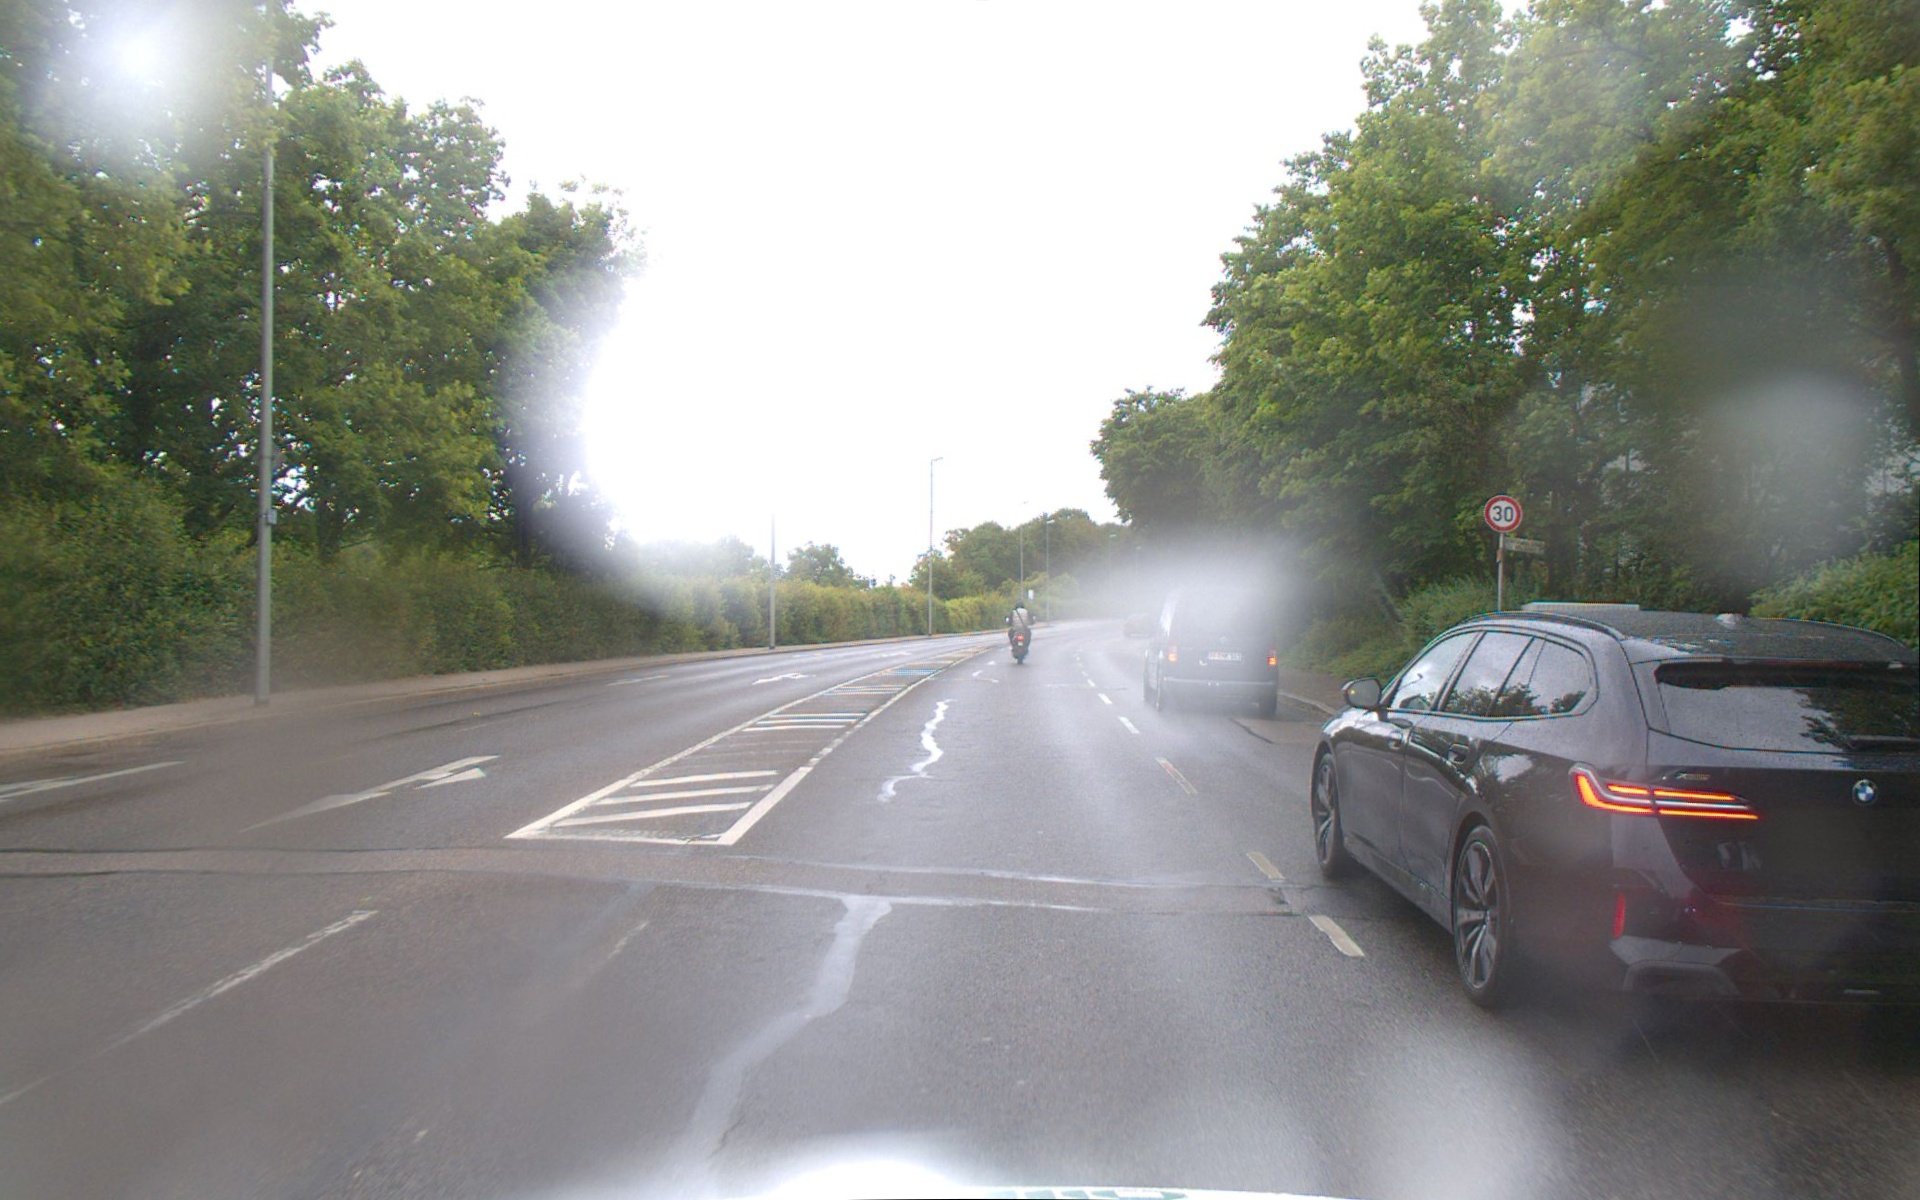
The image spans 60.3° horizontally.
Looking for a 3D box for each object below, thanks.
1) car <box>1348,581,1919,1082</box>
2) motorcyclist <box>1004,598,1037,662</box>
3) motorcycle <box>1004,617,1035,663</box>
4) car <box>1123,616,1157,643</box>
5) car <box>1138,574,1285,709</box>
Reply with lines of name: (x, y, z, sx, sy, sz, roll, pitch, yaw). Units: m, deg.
car: (2.908, 0.734, 7.072, 1.728, 1.563, 3.674, 1, 0, 2)
motorcyclist: (1.604, 0.782, 43.621, 0.827, 1.676, 0.468, 0, 1, 5)
motorcycle: (1.588, 1.057, 43.758, 0.725, 1.139, 1.427, 1, 1, 5)
car: (11.177, 1.811, 102.470, 1.972, 1.440, 4.490, 1, 1, 7)
car: (3.729, 0.547, 25.066, 1.730, 1.841, 3.907, 1, 1, 2)
